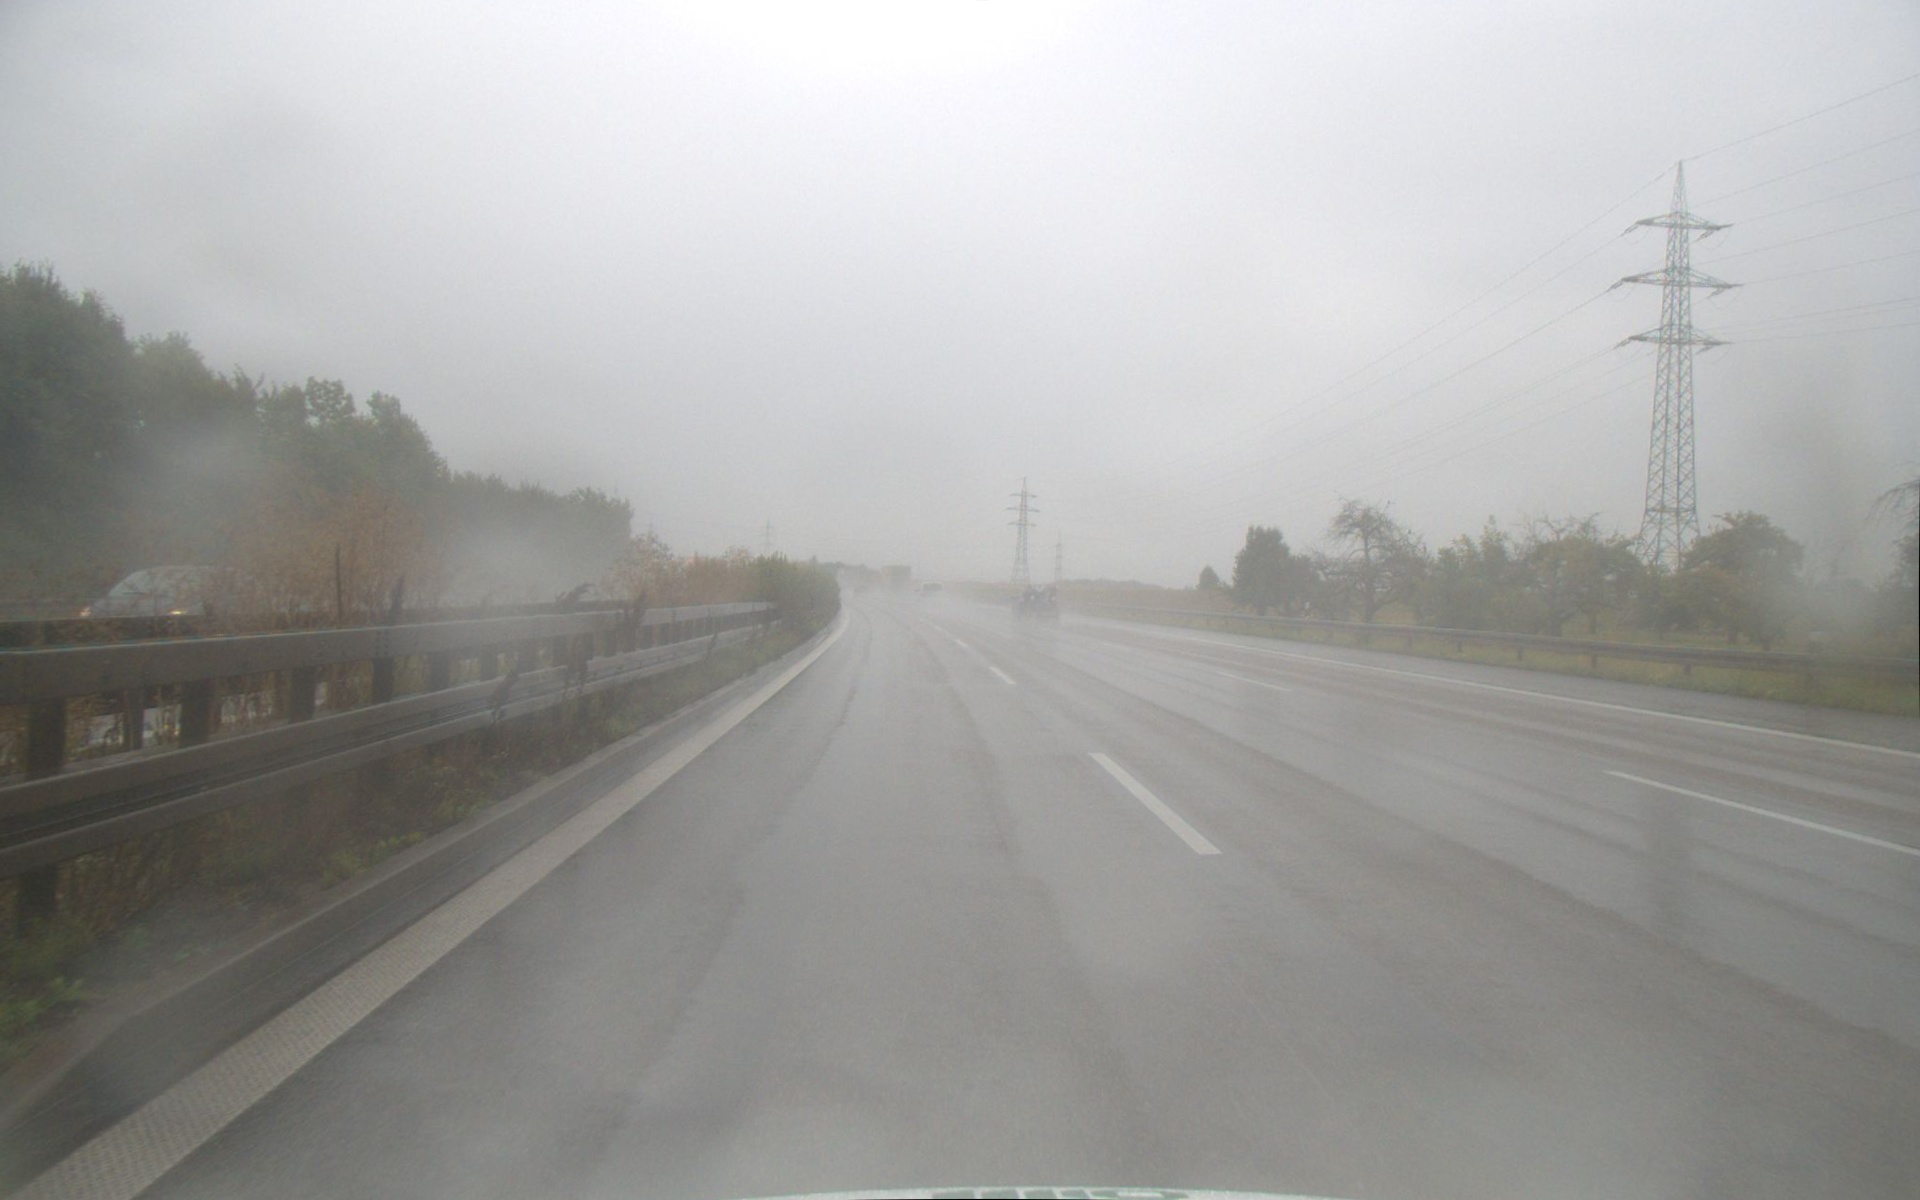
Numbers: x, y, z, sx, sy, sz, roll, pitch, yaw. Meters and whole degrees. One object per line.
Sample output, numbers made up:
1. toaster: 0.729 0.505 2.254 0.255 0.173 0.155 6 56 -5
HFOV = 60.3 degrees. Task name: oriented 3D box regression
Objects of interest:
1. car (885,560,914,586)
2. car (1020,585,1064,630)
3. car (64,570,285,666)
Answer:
1. car: -7.958 -3.569 217.558 3.139 3.248 7.246 1 0 -7
2. car: 4.155 0.339 84.587 1.771 2.196 3.997 1 0 -4
3. car: -13.366 0.282 28.432 1.953 1.489 3.998 2 0 -2
